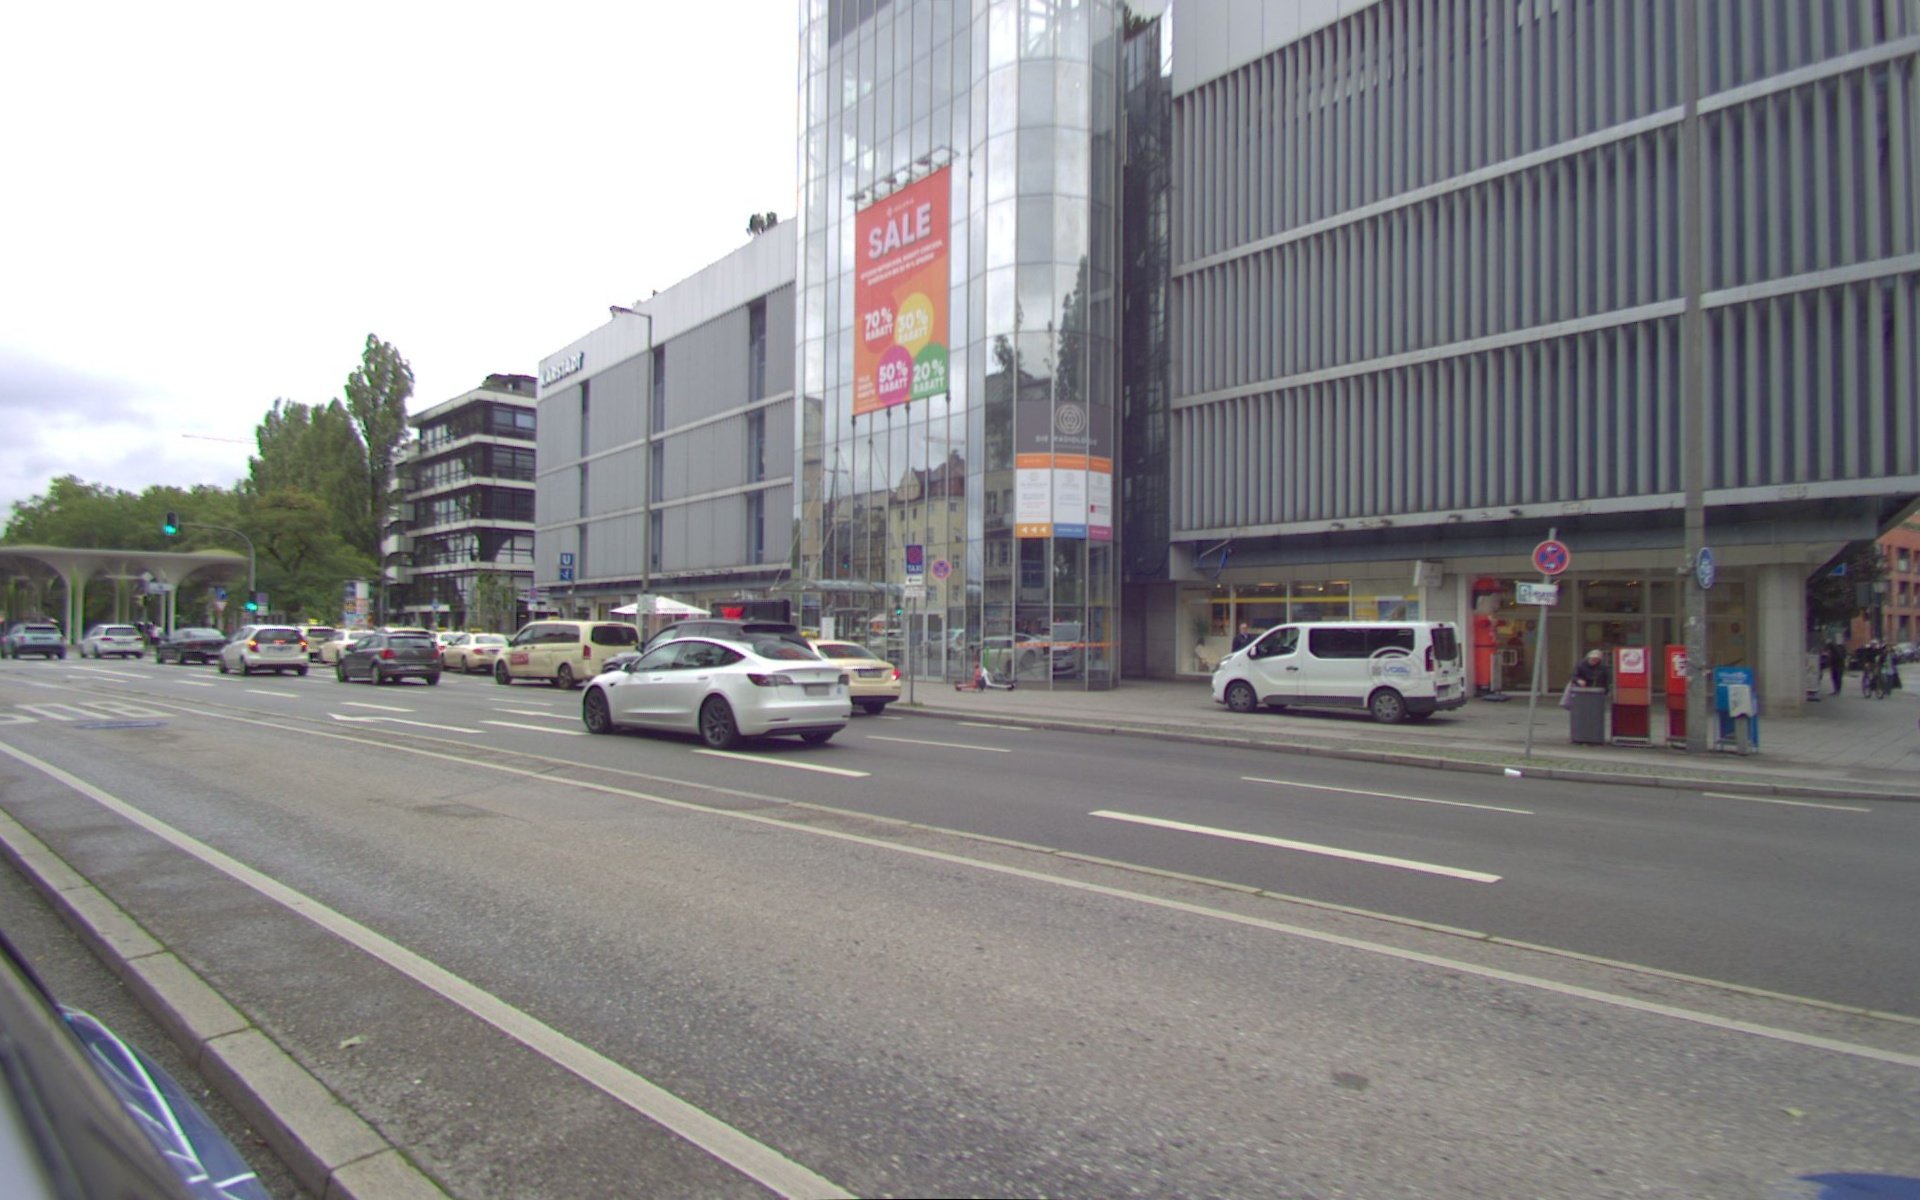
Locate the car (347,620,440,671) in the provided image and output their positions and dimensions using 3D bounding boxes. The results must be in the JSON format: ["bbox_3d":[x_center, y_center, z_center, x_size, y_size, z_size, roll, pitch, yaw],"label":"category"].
[{"bbox_3d":[-20.414,1.624,36.405,1.863,1.711,4.387,4,-4,-43],"label":"car"}]

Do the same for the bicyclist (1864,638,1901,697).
[{"bbox_3d":[27.147,1.967,29.800,0.715,1.685,0.744,-1,-3,38],"label":"bicyclist"}]

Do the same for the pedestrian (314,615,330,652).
[{"bbox_3d":[-29.988,1.565,47.564,0.428,1.742,0.519,0,0,35],"label":"pedestrian"}]

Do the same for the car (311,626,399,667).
[{"bbox_3d":[-24.085,1.810,40.216,1.923,1.552,4.851,2,-3,-44],"label":"car"}]

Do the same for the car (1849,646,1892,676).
[{"bbox_3d":[55.459,3.682,61.693,1.851,1.674,4.179,-1,-3,41],"label":"car"}]

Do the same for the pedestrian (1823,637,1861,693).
[{"bbox_3d":[27.058,1.969,31.065,0.751,1.685,0.708,-1,-3,33],"label":"pedestrian"}]

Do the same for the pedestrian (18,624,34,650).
[{"bbox_3d":[-67.343,2.699,72.977,0.656,1.865,0.790,2,-3,-34],"label":"pedestrian"}]

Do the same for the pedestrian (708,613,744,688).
[{"bbox_3d":[-6.030,1.302,26.141,0.776,1.881,0.848,2,-2,-9],"label":"pedestrian"}]

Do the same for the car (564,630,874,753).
[{"bbox_3d":[-3.474,1.146,14.041,4.688,1.405,1.780,-1,-3,41],"label":"car"}]

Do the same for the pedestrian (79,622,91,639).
[{"bbox_3d":[-67.097,2.338,77.589,0.591,1.348,0.543,-1,-3,35],"label":"pedestrian"}]

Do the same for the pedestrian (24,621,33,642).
[{"bbox_3d":[-69.947,2.374,76.004,0.315,1.514,0.331,-1,-2,27],"label":"pedestrian"}]

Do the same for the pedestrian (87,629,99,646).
[{"bbox_3d":[-66.953,2.883,78.141,0.591,1.348,0.543,-1,-3,35],"label":"pedestrian"}]

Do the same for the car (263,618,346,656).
[{"bbox_3d":[-29.193,1.635,45.012,4.467,1.624,1.573,-1,-3,36],"label":"car"}]

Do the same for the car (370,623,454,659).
[{"bbox_3d":[-24.961,1.854,46.050,3.994,1.579,1.888,-1,-3,38],"label":"car"}]

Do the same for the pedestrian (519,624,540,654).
[{"bbox_3d":[-22.541,2.045,53.005,0.722,1.557,0.900,2,-3,-41],"label":"pedestrian"}]

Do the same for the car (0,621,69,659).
[{"bbox_3d":[-40.757,1.734,44.304,3.994,1.557,1.800,-1,-4,38],"label":"car"}]

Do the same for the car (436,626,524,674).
[{"bbox_3d":[-17.401,1.785,36.601,1.750,1.628,4.004,3,-3,-42],"label":"car"}]

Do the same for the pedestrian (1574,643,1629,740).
[{"bbox_3d":[10.283,1.449,16.220,0.655,1.506,0.539,-1,-3,40],"label":"pedestrian"}]

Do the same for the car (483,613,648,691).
[{"bbox_3d":[-11.288,1.420,28.765,5.316,2.029,1.974,-1,-3,39],"label":"car"}]

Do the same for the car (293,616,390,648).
[{"bbox_3d":[-30.000,1.555,49.119,4.269,1.522,1.846,0,-2,22],"label":"car"}]

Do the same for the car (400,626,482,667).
[{"bbox_3d":[-20.967,1.856,40.831,4.001,1.548,1.732,-1,-3,44],"label":"car"}]

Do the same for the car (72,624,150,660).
[{"bbox_3d":[-39.785,1.941,47.395,4.284,1.612,1.974,-1,-3,39],"label":"car"}]

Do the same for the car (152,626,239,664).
[{"bbox_3d":[-30.520,1.776,40.353,4.683,1.420,1.712,-1,-3,40],"label":"car"}]

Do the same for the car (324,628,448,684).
[{"bbox_3d":[-16.395,1.569,28.850,3.997,1.477,1.765,-1,-3,40],"label":"car"}]

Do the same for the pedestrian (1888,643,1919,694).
[{"bbox_3d":[28.797,2.077,30.905,0.613,1.517,0.557,-1,-3,38],"label":"pedestrian"}]

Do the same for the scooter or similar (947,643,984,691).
[{"bbox_3d":[0.138,1.773,26.990,0.993,1.233,0.252,-1,-2,30],"label":"scooter or similar"}]

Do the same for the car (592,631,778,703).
[{"bbox_3d":[-6.817,1.575,24.776,5.085,1.564,1.956,-1,-3,42],"label":"car"}]

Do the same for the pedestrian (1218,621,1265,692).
[{"bbox_3d":[7.566,1.511,27.224,0.852,1.849,0.905,3,-3,-42],"label":"pedestrian"}]

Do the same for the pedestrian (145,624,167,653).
[{"bbox_3d":[-44.353,2.125,55.830,0.752,1.563,0.637,0,0,11],"label":"pedestrian"}]

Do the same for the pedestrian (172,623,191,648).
[{"bbox_3d":[-57.367,2.617,74.562,0.979,1.791,0.851,-1,-3,37],"label":"pedestrian"}]

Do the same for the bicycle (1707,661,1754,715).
[{"bbox_3d":[16.563,1.872,21.743,0.556,1.091,1.800,-2,-3,45],"label":"bicycle"}]

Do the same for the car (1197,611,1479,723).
[{"bbox_3d":[7.671,1.298,20.951,5.114,2.029,1.971,-2,-3,45],"label":"car"}]

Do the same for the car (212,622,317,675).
[{"bbox_3d":[-22.578,1.532,32.792,4.000,1.602,1.932,-1,-3,43],"label":"car"}]

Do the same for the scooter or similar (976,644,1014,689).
[{"bbox_3d":[0.952,1.809,27.588,0.991,1.182,0.253,0,-2,23],"label":"scooter or similar"}]

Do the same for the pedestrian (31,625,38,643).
[{"bbox_3d":[-69.540,2.558,76.056,0.270,1.387,0.299,-1,-3,34],"label":"pedestrian"}]

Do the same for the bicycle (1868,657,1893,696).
[{"bbox_3d":[27.088,2.250,29.801,0.353,1.088,1.668,-1,-3,37],"label":"bicycle"}]

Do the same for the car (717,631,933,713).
[{"bbox_3d":[-2.908,1.429,20.921,1.834,1.480,4.987,5,-5,-43],"label":"car"}]

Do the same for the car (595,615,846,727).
[{"bbox_3d":[-4.418,1.173,18.161,4.983,1.729,1.996,-1,-3,44],"label":"car"}]
